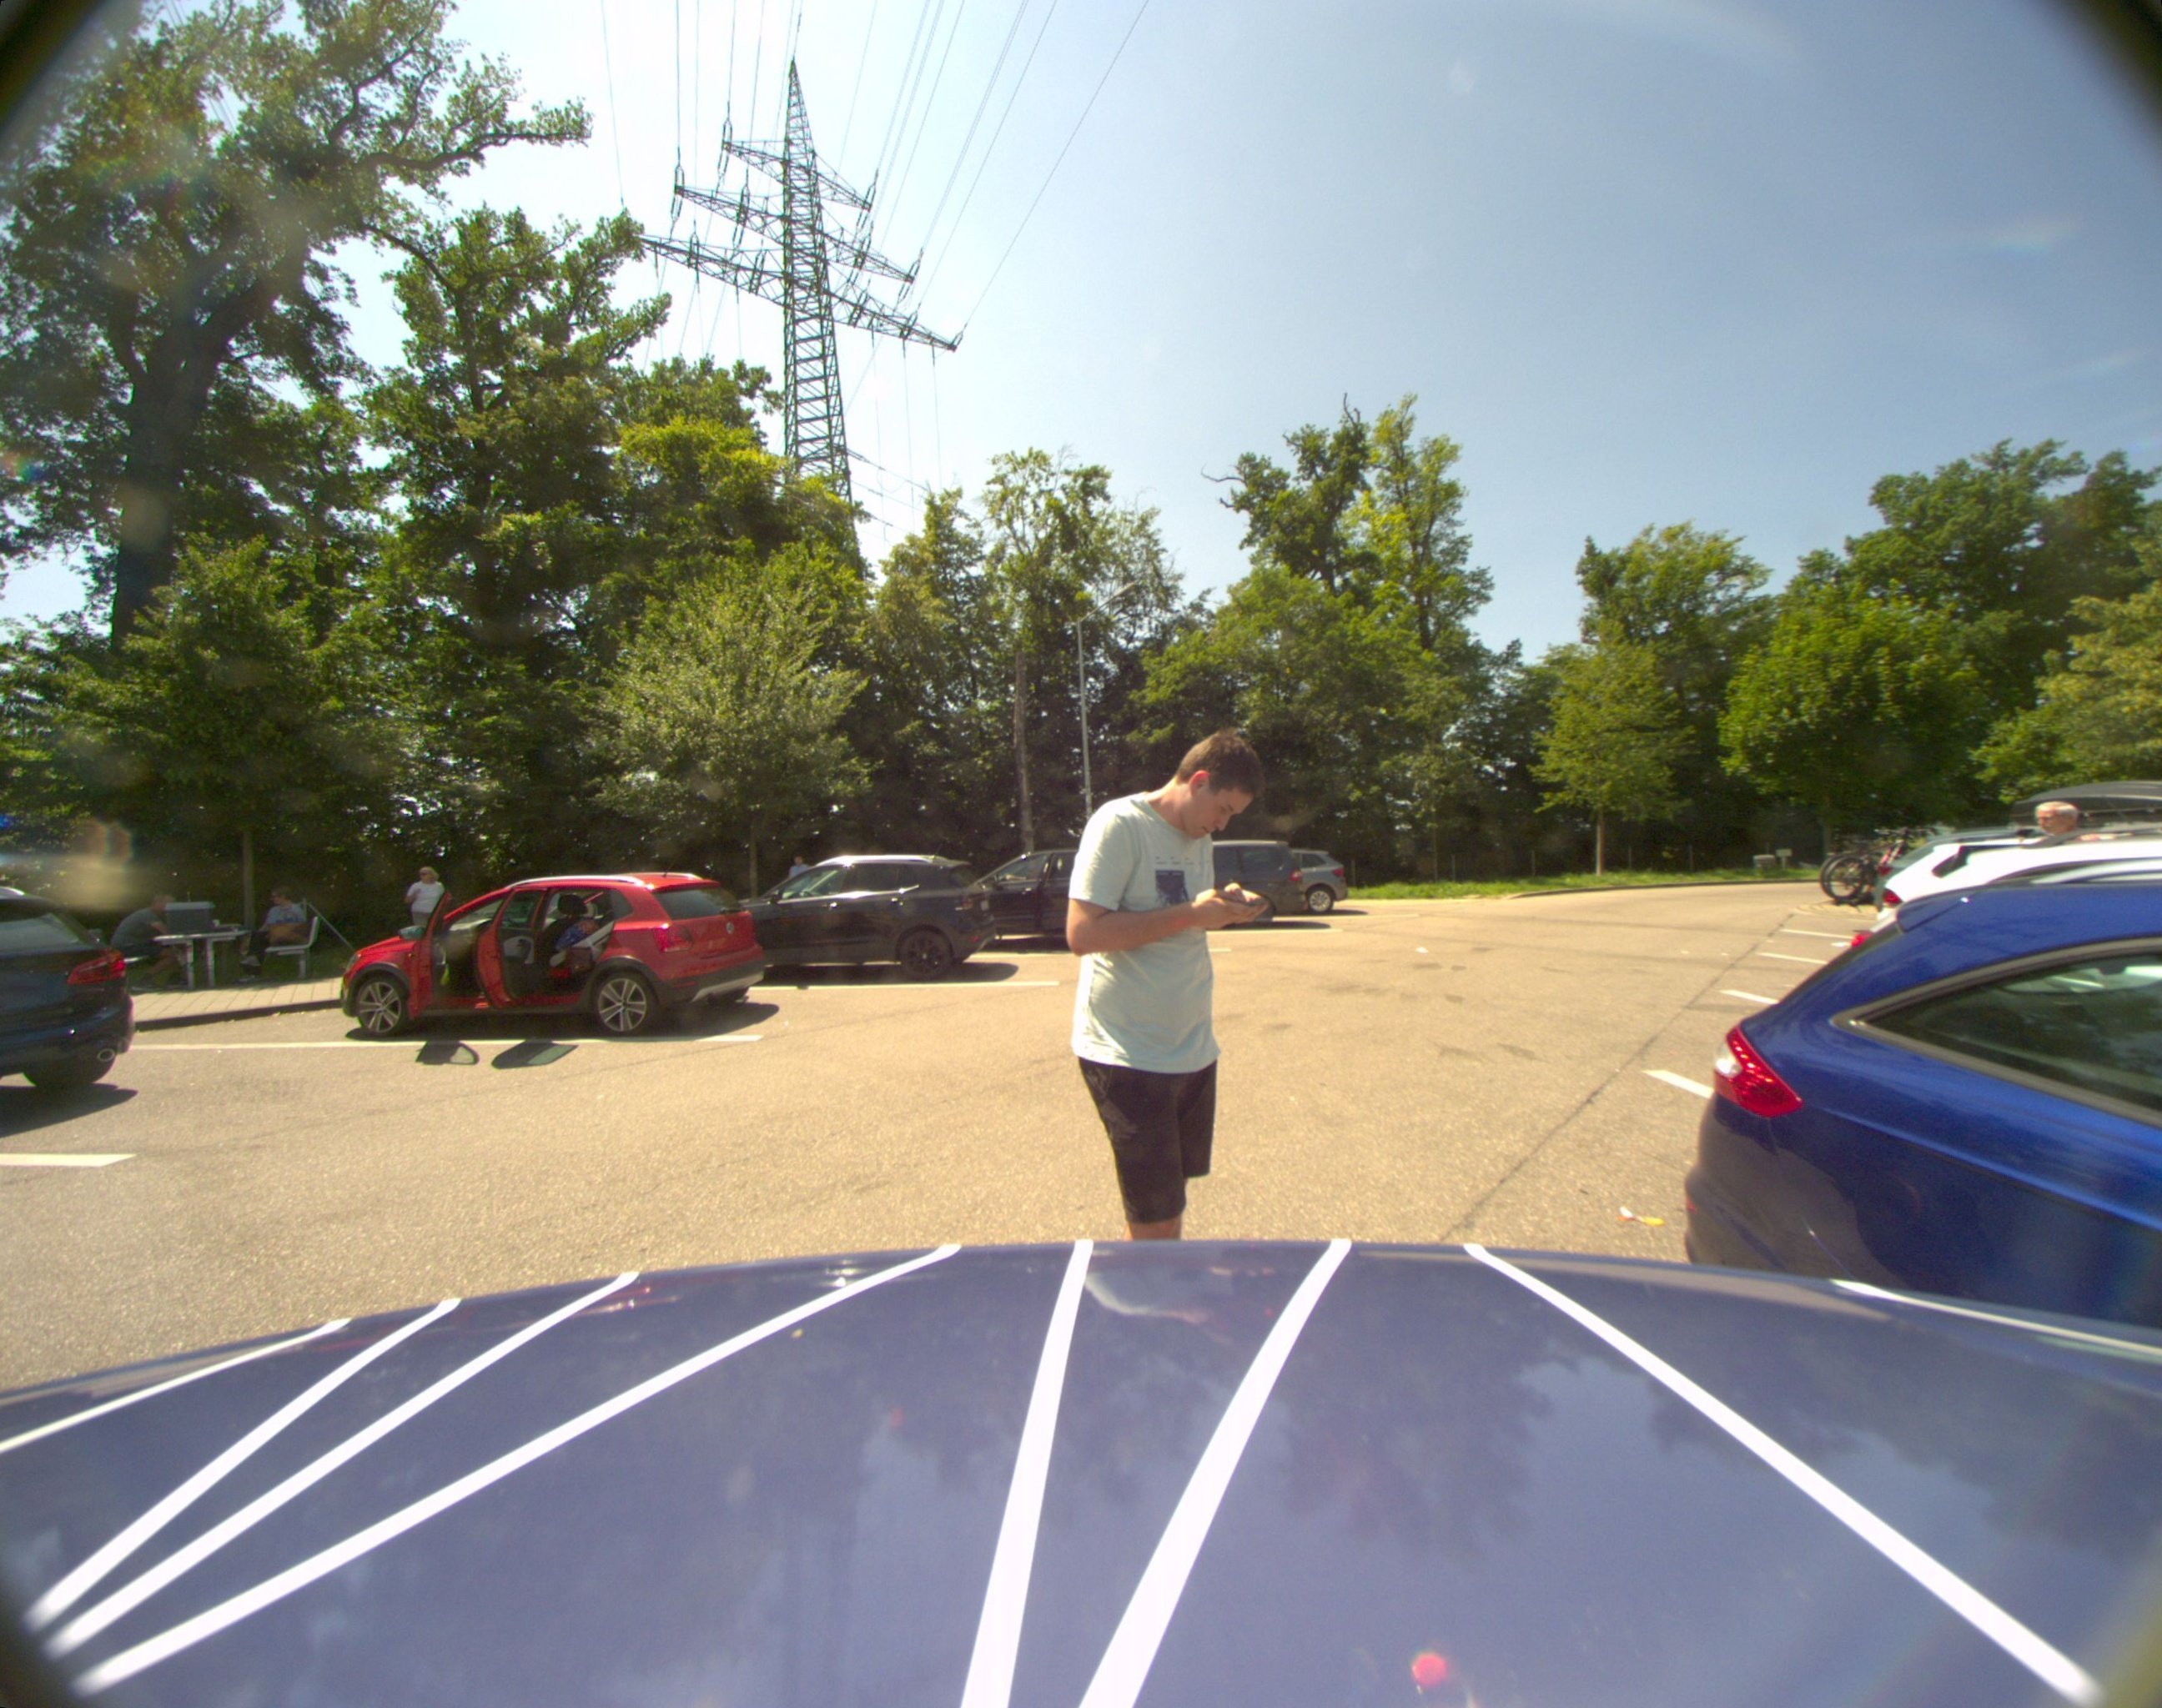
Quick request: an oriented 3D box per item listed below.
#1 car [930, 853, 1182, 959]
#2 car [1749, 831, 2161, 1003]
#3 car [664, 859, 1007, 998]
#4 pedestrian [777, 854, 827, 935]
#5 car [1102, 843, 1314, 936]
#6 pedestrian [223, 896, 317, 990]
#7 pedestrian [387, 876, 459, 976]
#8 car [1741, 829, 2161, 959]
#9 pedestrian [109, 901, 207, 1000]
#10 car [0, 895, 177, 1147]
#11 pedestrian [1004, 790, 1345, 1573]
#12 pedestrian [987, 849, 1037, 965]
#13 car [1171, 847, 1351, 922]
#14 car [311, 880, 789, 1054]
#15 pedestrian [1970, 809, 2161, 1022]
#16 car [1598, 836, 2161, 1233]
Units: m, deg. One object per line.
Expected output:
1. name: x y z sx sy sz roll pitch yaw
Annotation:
1. car: -0.328 0.841 12.960 3.964 1.582 1.781 -2 0 8
2. car: 10.063 0.532 8.160 1.779 1.456 4.470 -2 -1 0
3. car: -3.151 0.940 10.311 3.966 1.582 1.841 -2 0 3
4. pedestrian: -5.664 0.814 15.482 0.715 1.584 0.809 -2 0 -5
5. car: 2.508 0.697 15.452 3.964 1.678 1.781 -2 0 7
6. pedestrian: -11.821 1.277 11.088 0.828 1.287 0.672 -2 0 24
7. pedestrian: -11.112 1.183 12.861 0.777 1.584 0.808 -2 0 -34
8. car: 12.364 0.475 10.945 1.779 1.456 4.470 -2 -1 0
9. pedestrian: -12.690 1.307 10.456 0.652 1.262 0.672 -2 0 24
10. car: -8.919 1.161 5.004 4.011 1.558 1.846 -2 0 6
11. pedestrian: 0.209 0.725 1.959 0.687 1.699 0.578 -2 0 1
12. pedestrian: -1.073 0.810 11.906 0.660 1.745 0.636 -2 0 1
13. car: 4.177 0.713 18.205 3.964 1.577 1.781 -2 0 7
14. car: -5.194 1.075 7.722 3.704 1.448 1.781 -2 0 7
15. pedestrian: 7.946 0.466 6.104 0.672 1.592 0.759 -2 0 1
16. car: 4.874 0.658 3.575 1.779 1.456 4.470 -2 -1 0
